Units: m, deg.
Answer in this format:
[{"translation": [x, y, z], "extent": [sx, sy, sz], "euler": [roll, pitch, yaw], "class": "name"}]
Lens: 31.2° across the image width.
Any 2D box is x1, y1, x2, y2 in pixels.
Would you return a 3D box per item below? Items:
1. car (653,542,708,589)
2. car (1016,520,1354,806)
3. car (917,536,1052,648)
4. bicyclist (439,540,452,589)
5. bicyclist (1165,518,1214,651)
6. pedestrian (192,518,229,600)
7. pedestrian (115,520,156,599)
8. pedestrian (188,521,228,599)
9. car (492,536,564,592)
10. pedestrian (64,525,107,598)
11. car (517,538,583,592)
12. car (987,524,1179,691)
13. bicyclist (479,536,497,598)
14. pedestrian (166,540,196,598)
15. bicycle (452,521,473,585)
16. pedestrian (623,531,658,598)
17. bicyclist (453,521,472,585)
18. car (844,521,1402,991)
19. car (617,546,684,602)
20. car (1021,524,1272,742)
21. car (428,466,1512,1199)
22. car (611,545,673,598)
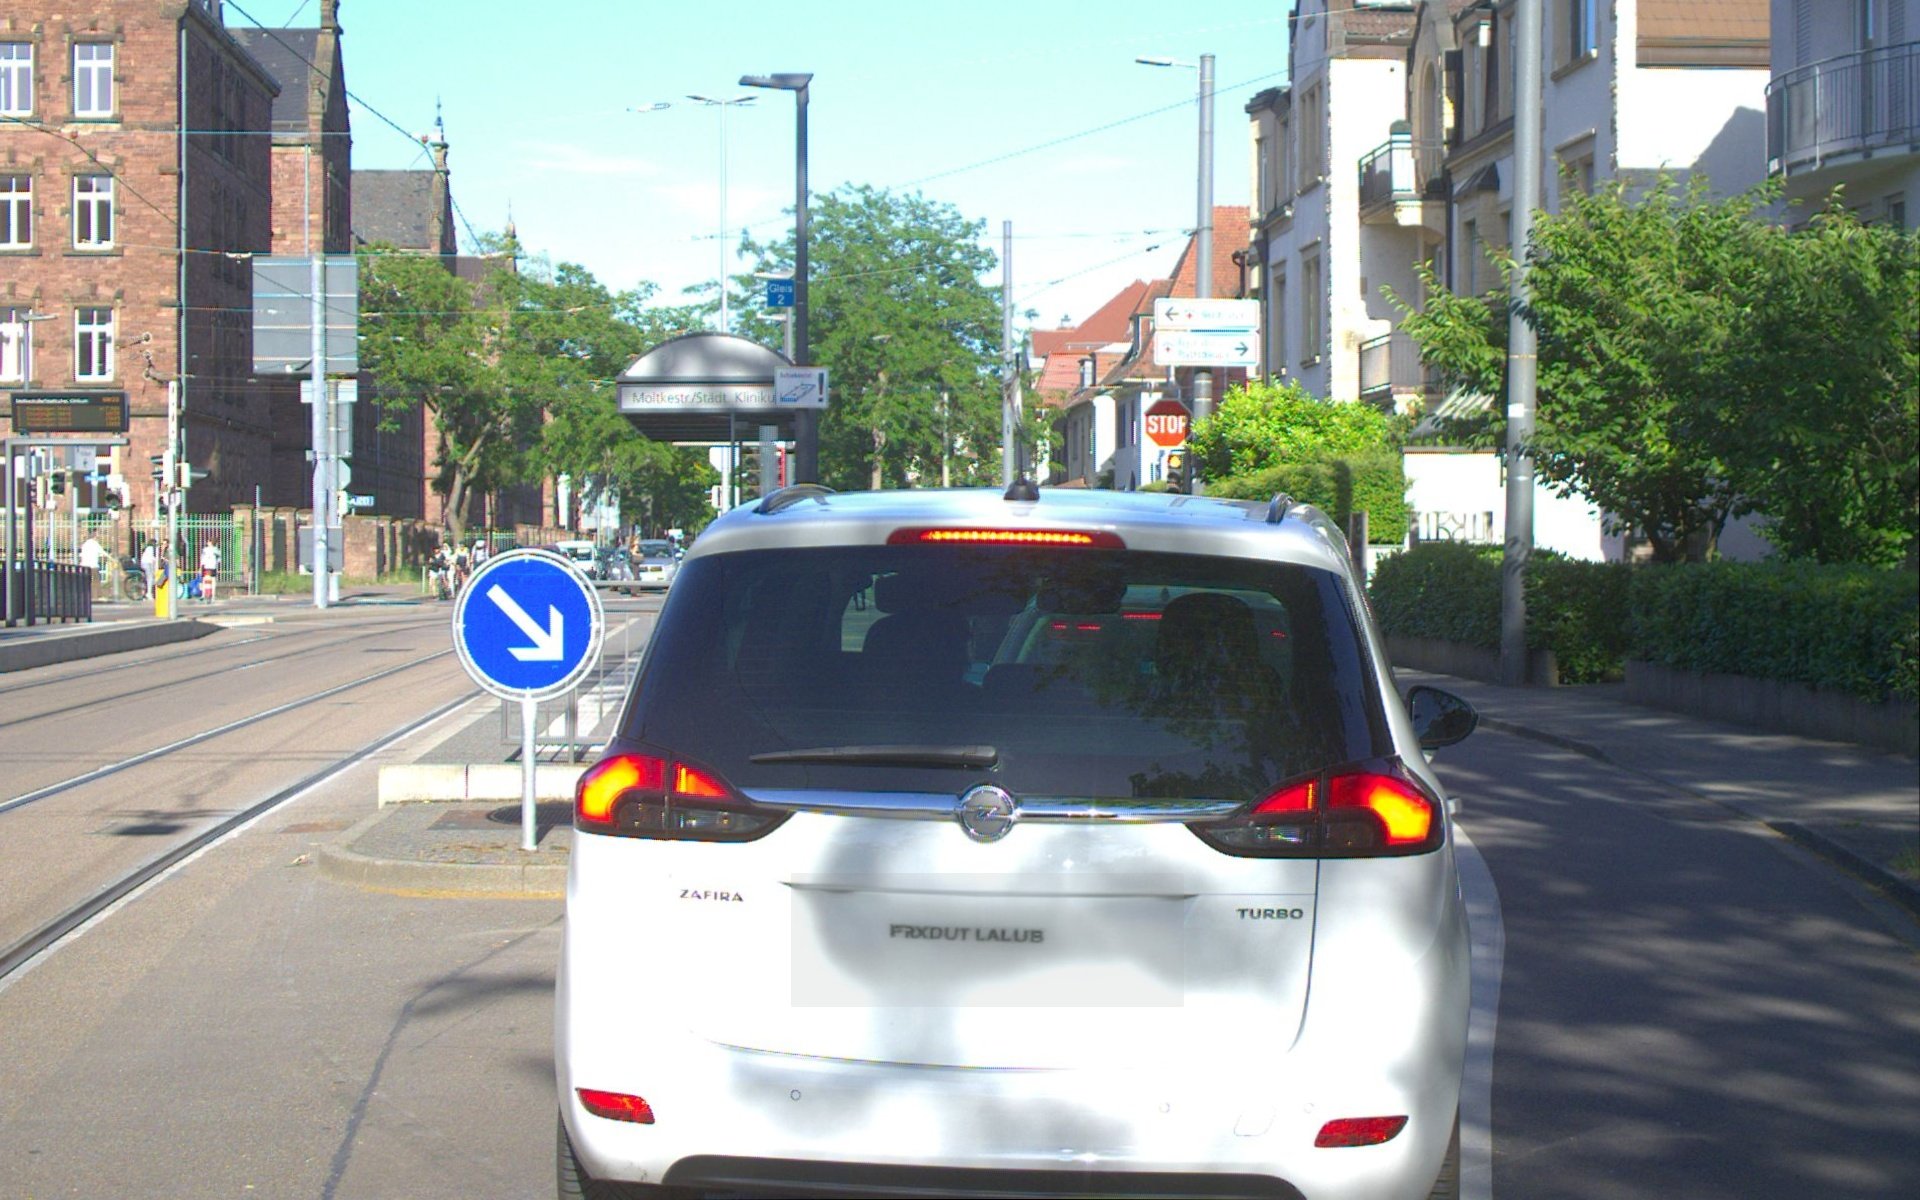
[{"translation": [-10.482, -1.297, 129.059], "extent": [1.746, 1.710, 4.000], "euler": [1, 1, -1], "class": "car"}, {"translation": [1.504, 0.318, 21.603], "extent": [1.907, 1.619, 3.999], "euler": [0, 1, 7], "class": "car"}, {"translation": [0.341, -0.150, 53.078], "extent": [1.907, 1.656, 4.001], "euler": [0, 1, -2], "class": "car"}, {"translation": [-15.420, -1.067, 103.030], "extent": [0.313, 1.439, 0.384], "euler": [0, 1, -1], "class": "bicyclist"}, {"translation": [2.920, -0.201, 43.721], "extent": [0.616, 1.681, 0.779], "euler": [0, 1, 4], "class": "bicyclist"}, {"translation": [-18.524, -1.002, 84.965], "extent": [0.794, 2.007, 0.721], "euler": [1, 0, -17], "class": "pedestrian"}, {"translation": [-21.194, -1.046, 88.336], "extent": [0.795, 2.007, 0.720], "euler": [1, 0, -34], "class": "pedestrian"}, {"translation": [-19.528, -1.031, 89.226], "extent": [0.795, 2.007, 0.721], "euler": [1, 0, -32], "class": "pedestrian"}, {"translation": [-13.421, -1.121, 107.034], "extent": [1.746, 1.710, 4.000], "euler": [1, 1, -1], "class": "car"}, {"translation": [-22.636, -0.995, 88.976], "extent": [0.808, 1.894, 0.743], "euler": [1, 0, 14], "class": "pedestrian"}, {"translation": [-13.547, -1.157, 113.702], "extent": [1.746, 1.710, 4.000], "euler": [1, 1, -1], "class": "car"}, {"translation": [1.245, 0.036, 36.100], "extent": [1.907, 1.656, 4.000], "euler": [0, 1, 1], "class": "car"}, {"translation": [-15.372, -1.059, 111.917], "extent": [0.488, 2.007, 0.502], "euler": [1, 0, -1], "class": "bicyclist"}, {"translation": [-21.589, -0.864, 95.292], "extent": [0.654, 1.606, 0.711], "euler": [1, 0, 2], "class": "pedestrian"}, {"translation": [-15.777, -1.486, 109.001], "extent": [0.487, 2.007, 1.405], "euler": [0, 1, 0], "class": "bicycle"}, {"translation": [-9.114, -1.021, 98.091], "extent": [0.741, 1.894, 0.811], "euler": [1, 0, -24], "class": "pedestrian"}, {"translation": [-15.769, -1.485, 108.972], "extent": [0.498, 2.007, 0.572], "euler": [0, 1, -1], "class": "bicyclist"}, {"translation": [0.782, 0.491, 13.763], "extent": [1.907, 1.592, 3.999], "euler": [0, 1, 7], "class": "car"}, {"translation": [-9.634, -0.821, 107.351], "extent": [1.746, 1.710, 4.000], "euler": [1, 1, -1], "class": "car"}, {"translation": [1.568, 0.217, 28.263], "extent": [1.907, 1.656, 4.000], "euler": [0, 1, 4], "class": "car"}, {"translation": [0.231, 0.558, 8.008], "extent": [1.907, 1.656, 3.999], "euler": [0, 1, 7], "class": "car"}, {"translation": [-10.646, -0.950, 115.208], "extent": [1.746, 1.710, 4.000], "euler": [1, 1, -1], "class": "car"}]
